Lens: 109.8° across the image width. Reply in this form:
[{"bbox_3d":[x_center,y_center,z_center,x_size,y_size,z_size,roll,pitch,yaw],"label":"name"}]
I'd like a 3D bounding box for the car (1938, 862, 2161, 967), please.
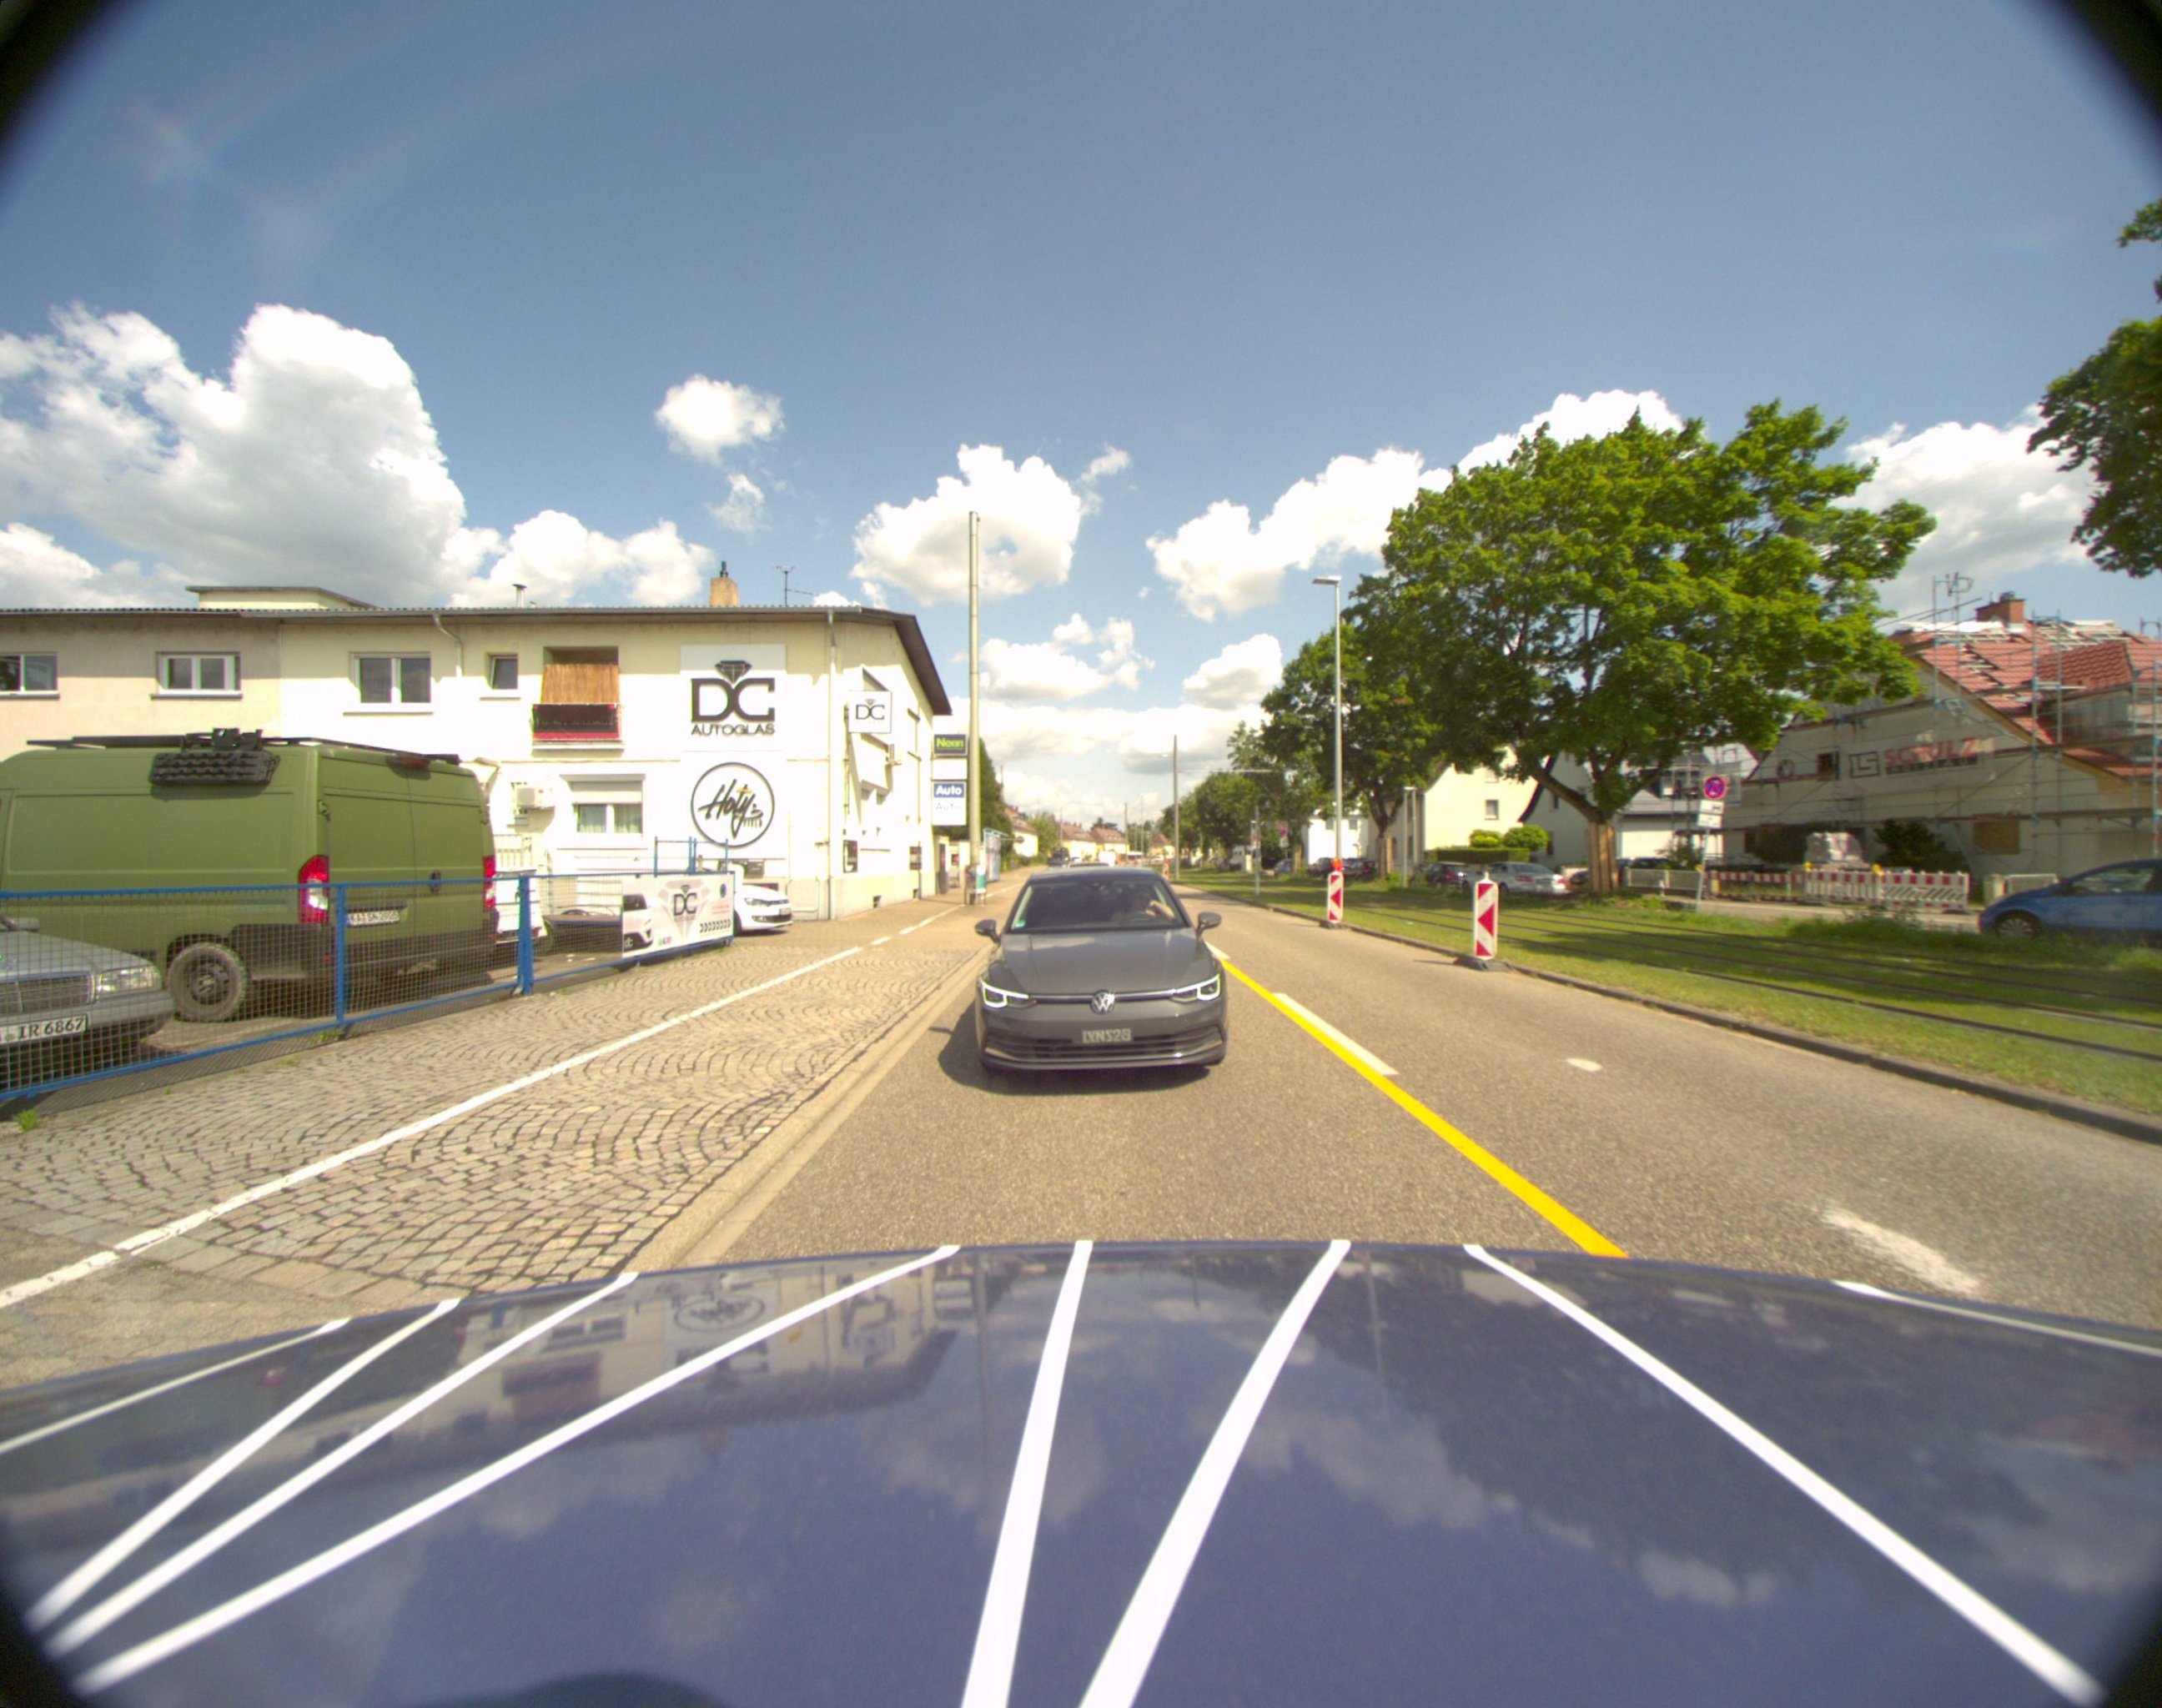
[{"bbox_3d":[16.204,0.864,11.404,1.702,1.477,4.407,-1,-1,1],"label":"car"}]

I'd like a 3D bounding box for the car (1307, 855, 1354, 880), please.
[{"bbox_3d":[16.555,0.896,50.666,1.702,1.562,4.407,-1,-1,1],"label":"car"}]

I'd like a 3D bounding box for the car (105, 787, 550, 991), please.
[{"bbox_3d":[-9.497,0.423,9.791,4.207,2.392,1.586,0,0,2],"label":"car"}]

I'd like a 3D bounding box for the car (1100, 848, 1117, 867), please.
[{"bbox_3d":[3.612,0.428,100.564,2.090,2.449,5.842,2,0,2],"label":"car"}]

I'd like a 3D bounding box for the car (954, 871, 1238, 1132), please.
[{"bbox_3d":[0.118,0.934,6.567,1.702,1.477,4.000,0,0,1],"label":"car"}]

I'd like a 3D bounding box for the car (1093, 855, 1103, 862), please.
[{"bbox_3d":[3.849,0.909,173.602,1.700,1.574,4.004,0,0,12],"label":"car"}]

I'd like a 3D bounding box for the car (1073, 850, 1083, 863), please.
[{"bbox_3d":[-0.487,0.418,136.408,1.701,2.233,4.947,0,0,2],"label":"car"}]

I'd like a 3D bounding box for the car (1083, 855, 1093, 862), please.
[{"bbox_3d":[1.445,0.904,155.843,1.701,1.574,4.002,0,0,7],"label":"car"}]

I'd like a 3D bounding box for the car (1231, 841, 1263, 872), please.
[{"bbox_3d":[16.818,0.271,77.277,2.136,3.019,5.084,-1,-1,1],"label":"car"}]

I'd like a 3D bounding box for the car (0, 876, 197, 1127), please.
[{"bbox_3d":[-8.458,0.888,4.779,4.282,1.444,1.713,0,0,8],"label":"car"}]

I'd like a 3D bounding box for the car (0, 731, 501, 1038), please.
[{"bbox_3d":[-8.725,0.270,7.615,4.207,2.627,2.113,0,0,2],"label":"car"}]

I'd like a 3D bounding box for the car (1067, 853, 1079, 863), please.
[{"bbox_3d":[-1.313,0.670,123.045,1.701,1.574,4.001,0,0,3],"label":"car"}]

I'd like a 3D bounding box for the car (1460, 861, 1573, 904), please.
[{"bbox_3d":[16.421,1.064,28.942,1.788,1.477,4.523,-1,-1,2],"label":"car"}]

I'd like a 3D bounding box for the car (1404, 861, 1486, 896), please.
[{"bbox_3d":[16.626,1.118,34.943,1.702,1.477,4.407,-1,-1,1],"label":"car"}]

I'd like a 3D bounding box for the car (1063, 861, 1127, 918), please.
[{"bbox_3d":[0.397,0.974,22.251,1.702,1.477,4.000,0,0,1],"label":"car"}]

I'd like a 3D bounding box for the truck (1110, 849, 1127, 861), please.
[{"bbox_3d":[9.914,0.140,201.056,2.710,3.119,8.124,0,0,15],"label":"truck"}]

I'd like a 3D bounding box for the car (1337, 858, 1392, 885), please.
[{"bbox_3d":[16.771,1.033,45.160,1.702,1.477,4.407,-1,-1,1],"label":"car"}]

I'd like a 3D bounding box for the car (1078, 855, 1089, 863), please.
[{"bbox_3d":[0.487,0.901,146.712,1.701,1.574,4.002,0,0,6],"label":"car"}]

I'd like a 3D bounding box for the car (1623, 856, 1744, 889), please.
[{"bbox_3d":[28.907,0.887,36.516,4.402,1.477,1.704,-1,-1,1],"label":"car"}]

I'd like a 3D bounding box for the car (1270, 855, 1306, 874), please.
[{"bbox_3d":[16.645,0.873,61.287,1.702,1.477,4.407,-1,-1,1],"label":"car"}]

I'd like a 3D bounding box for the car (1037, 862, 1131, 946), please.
[{"bbox_3d":[0.081,0.939,15.866,1.702,1.477,4.000,0,0,1],"label":"car"}]

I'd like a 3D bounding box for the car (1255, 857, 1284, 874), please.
[{"bbox_3d":[17.647,1.075,71.332,1.702,1.477,4.407,-1,-1,1],"label":"car"}]

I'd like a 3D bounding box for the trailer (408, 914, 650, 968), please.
[{"bbox_3d":[-8.366,1.306,11.665,2.733,0.662,1.329,0,0,-1],"label":"trailer"}]

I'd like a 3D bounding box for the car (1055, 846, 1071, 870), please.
[{"bbox_3d":[-1.912,0.448,82.444,1.702,2.510,5.144,0,0,0],"label":"car"}]

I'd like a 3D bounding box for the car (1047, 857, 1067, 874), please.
[{"bbox_3d":[-2.184,1.046,70.759,1.702,1.574,4.000,0,0,1],"label":"car"}]

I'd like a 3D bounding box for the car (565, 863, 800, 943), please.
[{"bbox_3d":[-7.660,0.915,14.823,3.775,1.454,1.555,0,0,2],"label":"car"}]
